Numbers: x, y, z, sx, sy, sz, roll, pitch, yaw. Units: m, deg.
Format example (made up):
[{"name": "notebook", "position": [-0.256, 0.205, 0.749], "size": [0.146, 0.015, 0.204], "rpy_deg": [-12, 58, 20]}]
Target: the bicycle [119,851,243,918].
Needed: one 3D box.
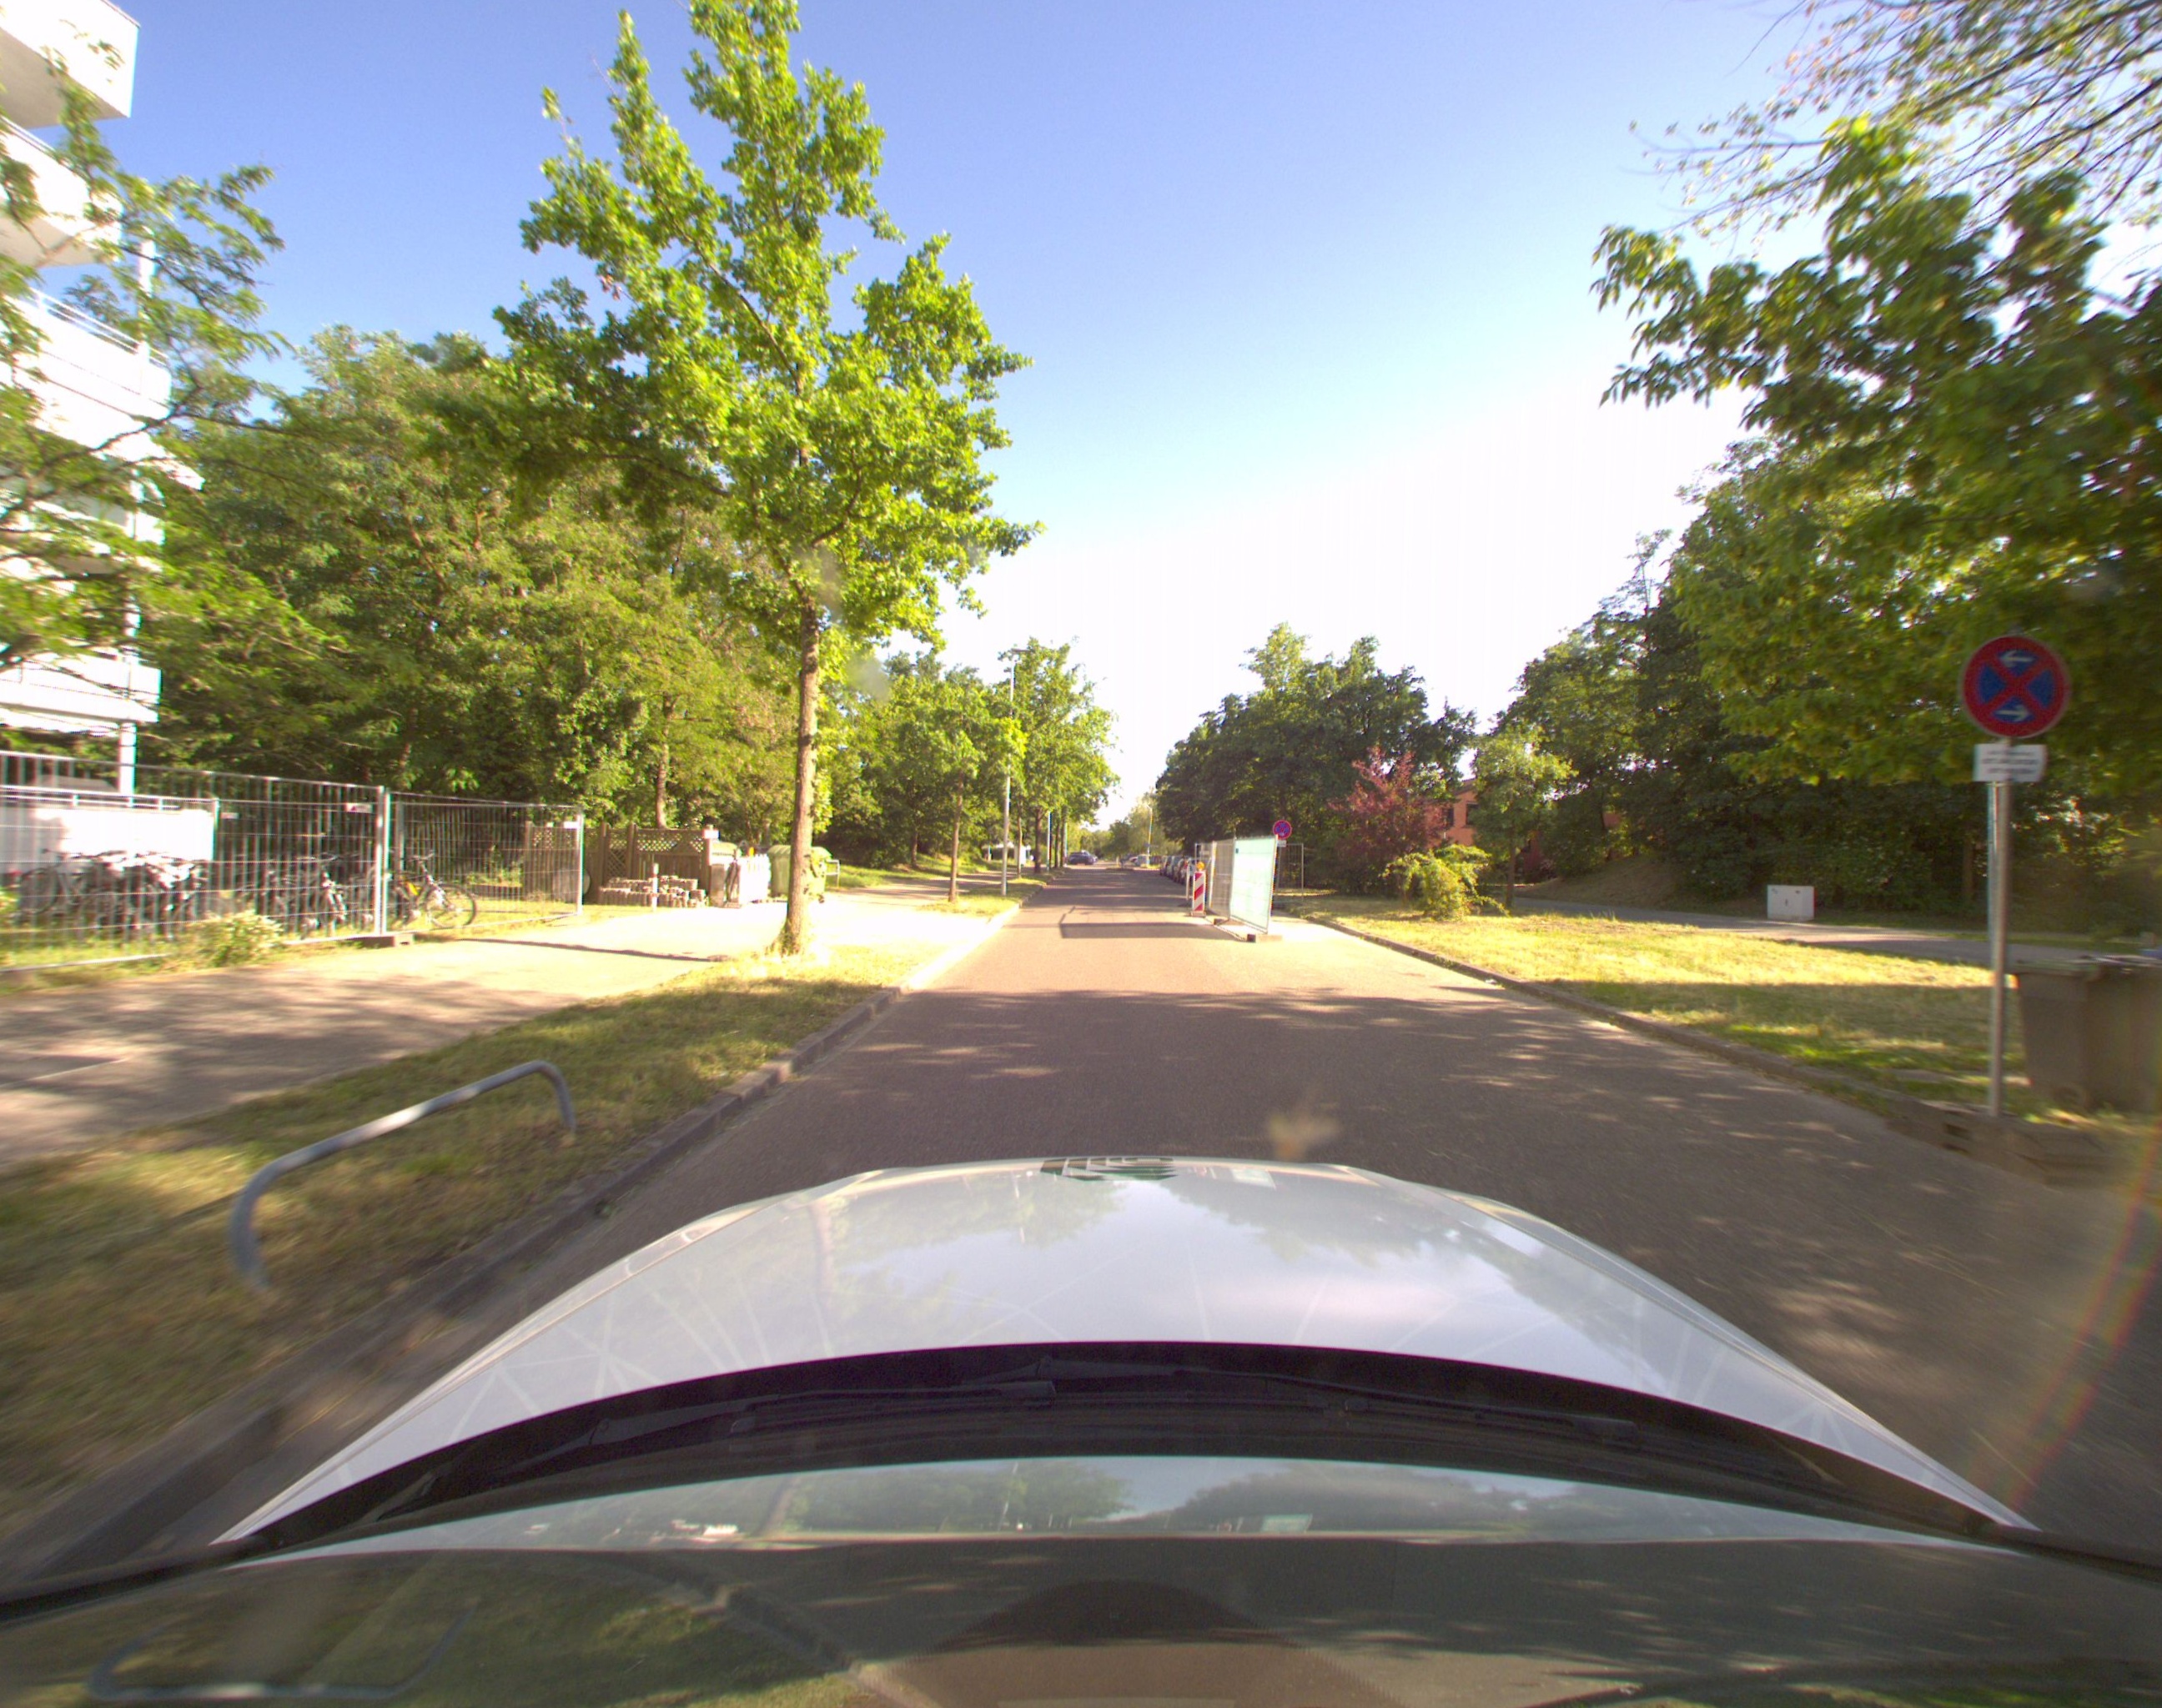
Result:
[{"name": "bicycle", "position": [-14.503, 0.478, 13.134], "size": [1.686, 1.027, 0.401], "rpy_deg": [1, -1, 7]}]

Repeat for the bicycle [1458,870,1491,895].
[{"name": "bicycle", "position": [17.435, 1.243, 36.107], "size": [0.629, 1.040, 1.785], "rpy_deg": [1, 0, 1]}]

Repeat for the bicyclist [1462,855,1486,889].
[{"name": "bicyclist", "position": [17.454, 0.788, 36.185], "size": [0.629, 1.499, 0.840], "rpy_deg": [1, 0, 1]}]

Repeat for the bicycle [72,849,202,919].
[{"name": "bicycle", "position": [-14.579, 0.460, 12.581], "size": [1.686, 1.027, 0.401], "rpy_deg": [1, -1, 7]}]

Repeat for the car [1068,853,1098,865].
[{"name": "car", "position": [0.264, 0.754, 125.675], "size": [4.294, 1.576, 2.051], "rpy_deg": [3, 0, 8]}]

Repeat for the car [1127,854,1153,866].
[{"name": "car", "position": [8.986, 0.878, 123.777], "size": [3.817, 1.576, 1.692], "rpy_deg": [3, 0, 8]}]

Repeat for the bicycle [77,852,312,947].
[{"name": "bicycle", "position": [-9.885, 0.512, 9.135], "size": [1.869, 1.027, 0.399], "rpy_deg": [1, -1, -11]}]

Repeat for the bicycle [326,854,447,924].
[{"name": "bicycle", "position": [-10.969, 0.535, 12.943], "size": [0.398, 1.027, 1.700], "rpy_deg": [1, -1, 1]}]

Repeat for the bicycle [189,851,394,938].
[{"name": "bicycle", "position": [-9.719, 0.502, 10.074], "size": [1.856, 1.027, 0.399], "rpy_deg": [1, -1, -11]}]

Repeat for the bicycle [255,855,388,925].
[{"name": "bicycle", "position": [-11.989, 0.545, 12.929], "size": [0.397, 1.027, 1.702], "rpy_deg": [1, -1, 4]}]

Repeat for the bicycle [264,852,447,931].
[{"name": "bicycle", "position": [-9.771, 0.513, 11.021], "size": [1.860, 1.027, 0.399], "rpy_deg": [1, -1, -11]}]

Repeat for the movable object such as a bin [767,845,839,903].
[{"name": "movable object such as a bin", "position": [-7.168, 0.499, 21.025], "size": [1.259, 1.435, 1.187], "rpy_deg": [1, 0, 18]}]

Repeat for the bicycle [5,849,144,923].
[{"name": "bicycle", "position": [-14.710, 0.455, 11.908], "size": [1.686, 1.027, 0.401], "rpy_deg": [1, -1, 7]}]

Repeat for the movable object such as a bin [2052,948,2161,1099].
[{"name": "movable object such as a bin", "position": [6.735, 1.066, 5.228], "size": [0.411, 0.870, 0.484], "rpy_deg": [-1, -1, 2]}]

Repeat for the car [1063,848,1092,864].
[{"name": "car", "position": [-0.646, 0.396, 150.965], "size": [5.188, 2.621, 2.291], "rpy_deg": [3, 0, -3]}]

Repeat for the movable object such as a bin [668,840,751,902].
[{"name": "movable object such as a bin", "position": [-9.042, 0.395, 19.857], "size": [1.257, 1.435, 1.334], "rpy_deg": [1, 0, 30]}]

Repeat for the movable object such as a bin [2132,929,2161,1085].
[{"name": "movable object such as a bin", "position": [7.247, 0.995, 5.103], "size": [0.517, 0.999, 0.608], "rpy_deg": [-1, -1, 2]}]

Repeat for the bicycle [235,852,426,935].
[{"name": "bicycle", "position": [-9.677, 0.509, 10.547], "size": [1.839, 1.027, 0.399], "rpy_deg": [1, -1, -11]}]

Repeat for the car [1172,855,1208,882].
[{"name": "car", "position": [6.973, 0.894, 52.407], "size": [1.769, 1.621, 4.064], "rpy_deg": [3, 0, 1]}]

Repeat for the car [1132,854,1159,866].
[{"name": "car", "position": [9.545, 0.952, 120.938], "size": [3.817, 1.576, 1.692], "rpy_deg": [3, 0, 8]}]

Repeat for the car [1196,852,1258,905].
[{"name": "car", "position": [5.137, 0.813, 29.188], "size": [1.801, 1.651, 4.428], "rpy_deg": [3, 0, 6]}]

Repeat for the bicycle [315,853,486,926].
[{"name": "bicycle", "position": [-9.912, 0.518, 11.911], "size": [1.915, 1.027, 0.399], "rpy_deg": [1, -1, -11]}]

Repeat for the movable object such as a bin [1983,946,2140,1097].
[{"name": "movable object such as a bin", "position": [6.267, 1.053, 5.225], "size": [0.411, 0.870, 0.484], "rpy_deg": [-1, -1, 2]}]

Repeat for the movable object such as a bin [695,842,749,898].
[{"name": "movable object such as a bin", "position": [-9.672, 0.420, 21.919], "size": [1.149, 1.435, 1.260], "rpy_deg": [1, 0, -32]}]

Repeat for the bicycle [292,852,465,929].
[{"name": "bicycle", "position": [-9.831, 0.512, 11.445], "size": [1.838, 1.027, 0.399], "rpy_deg": [1, -1, -11]}]

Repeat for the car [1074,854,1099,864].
[{"name": "car", "position": [0.991, 0.904, 141.973], "size": [4.089, 1.576, 1.960], "rpy_deg": [3, 0, 3]}]

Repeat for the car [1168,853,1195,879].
[{"name": "car", "position": [7.393, 0.847, 60.286], "size": [1.617, 1.773, 3.670], "rpy_deg": [3, 0, 2]}]

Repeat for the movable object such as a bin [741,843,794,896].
[{"name": "movable object such as a bin", "position": [-8.739, 0.418, 22.704], "size": [1.149, 1.435, 1.260], "rpy_deg": [1, 0, -32]}]

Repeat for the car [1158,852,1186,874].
[{"name": "car", "position": [7.990, 0.794, 71.541], "size": [1.786, 1.785, 4.554], "rpy_deg": [3, 0, -1]}]

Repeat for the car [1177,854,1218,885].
[{"name": "car", "position": [6.700, 0.874, 47.056], "size": [1.769, 1.621, 4.064], "rpy_deg": [3, 0, 1]}]
